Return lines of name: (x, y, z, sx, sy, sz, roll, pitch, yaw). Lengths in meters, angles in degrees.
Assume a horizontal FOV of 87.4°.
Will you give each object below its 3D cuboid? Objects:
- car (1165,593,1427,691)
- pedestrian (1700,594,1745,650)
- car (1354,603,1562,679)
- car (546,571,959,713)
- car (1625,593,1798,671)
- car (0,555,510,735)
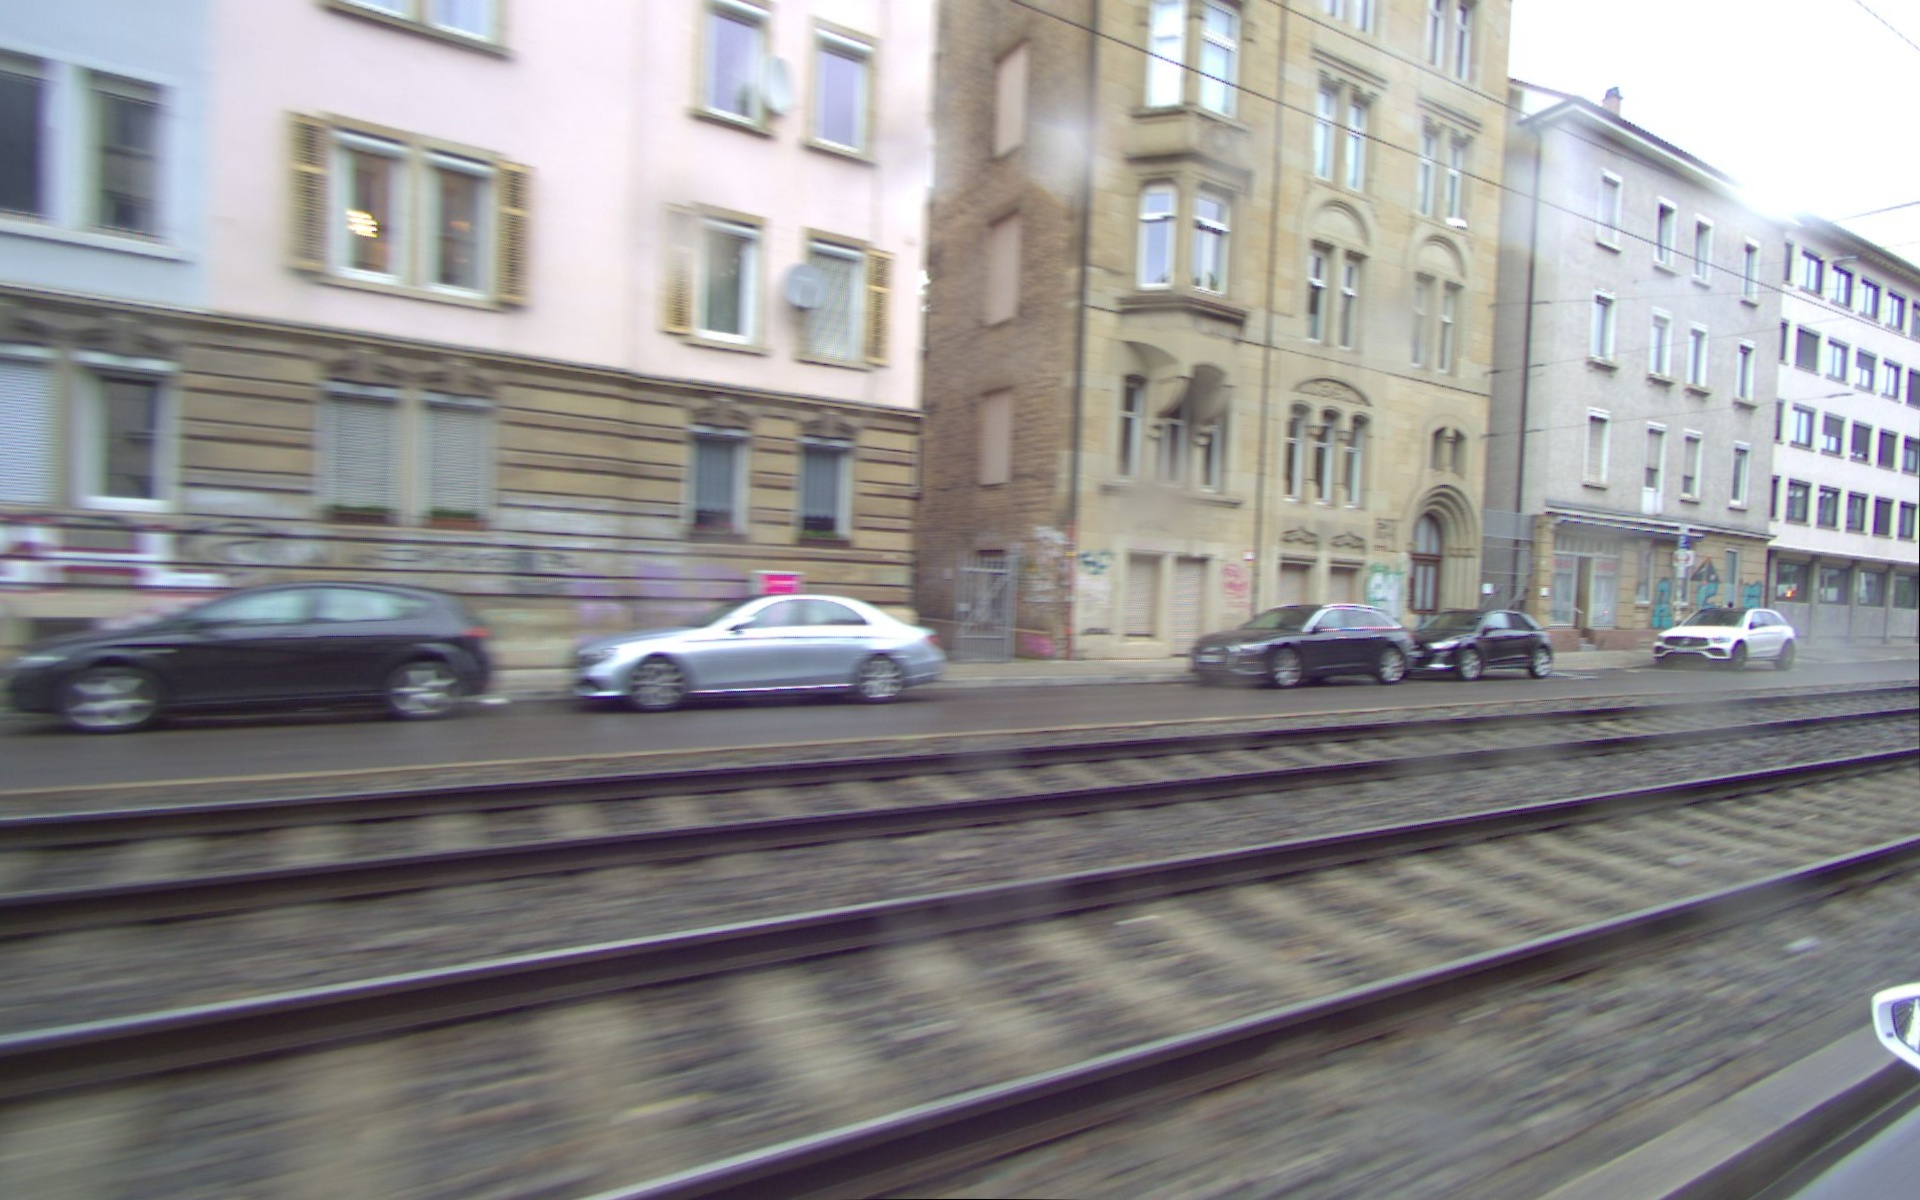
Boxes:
car: (6.209, 0.754, 18.433, 4.622, 1.539, 1.983, 2, 2, -31)
pedestrian: (25.030, 0.736, 32.995, 0.973, 1.774, 0.797, 2, 2, -31)
car: (10.636, 0.857, 21.423, 4.189, 1.394, 1.983, 2, 1, -31)
car: (-2.656, 0.526, 13.250, 4.935, 1.539, 1.983, 2, 2, -31)
car: (20.325, 0.858, 27.123, 5.014, 1.864, 1.983, 2, 2, -32)
car: (-7.127, 0.419, 10.563, 4.161, 1.539, 1.983, 2, 2, -31)
